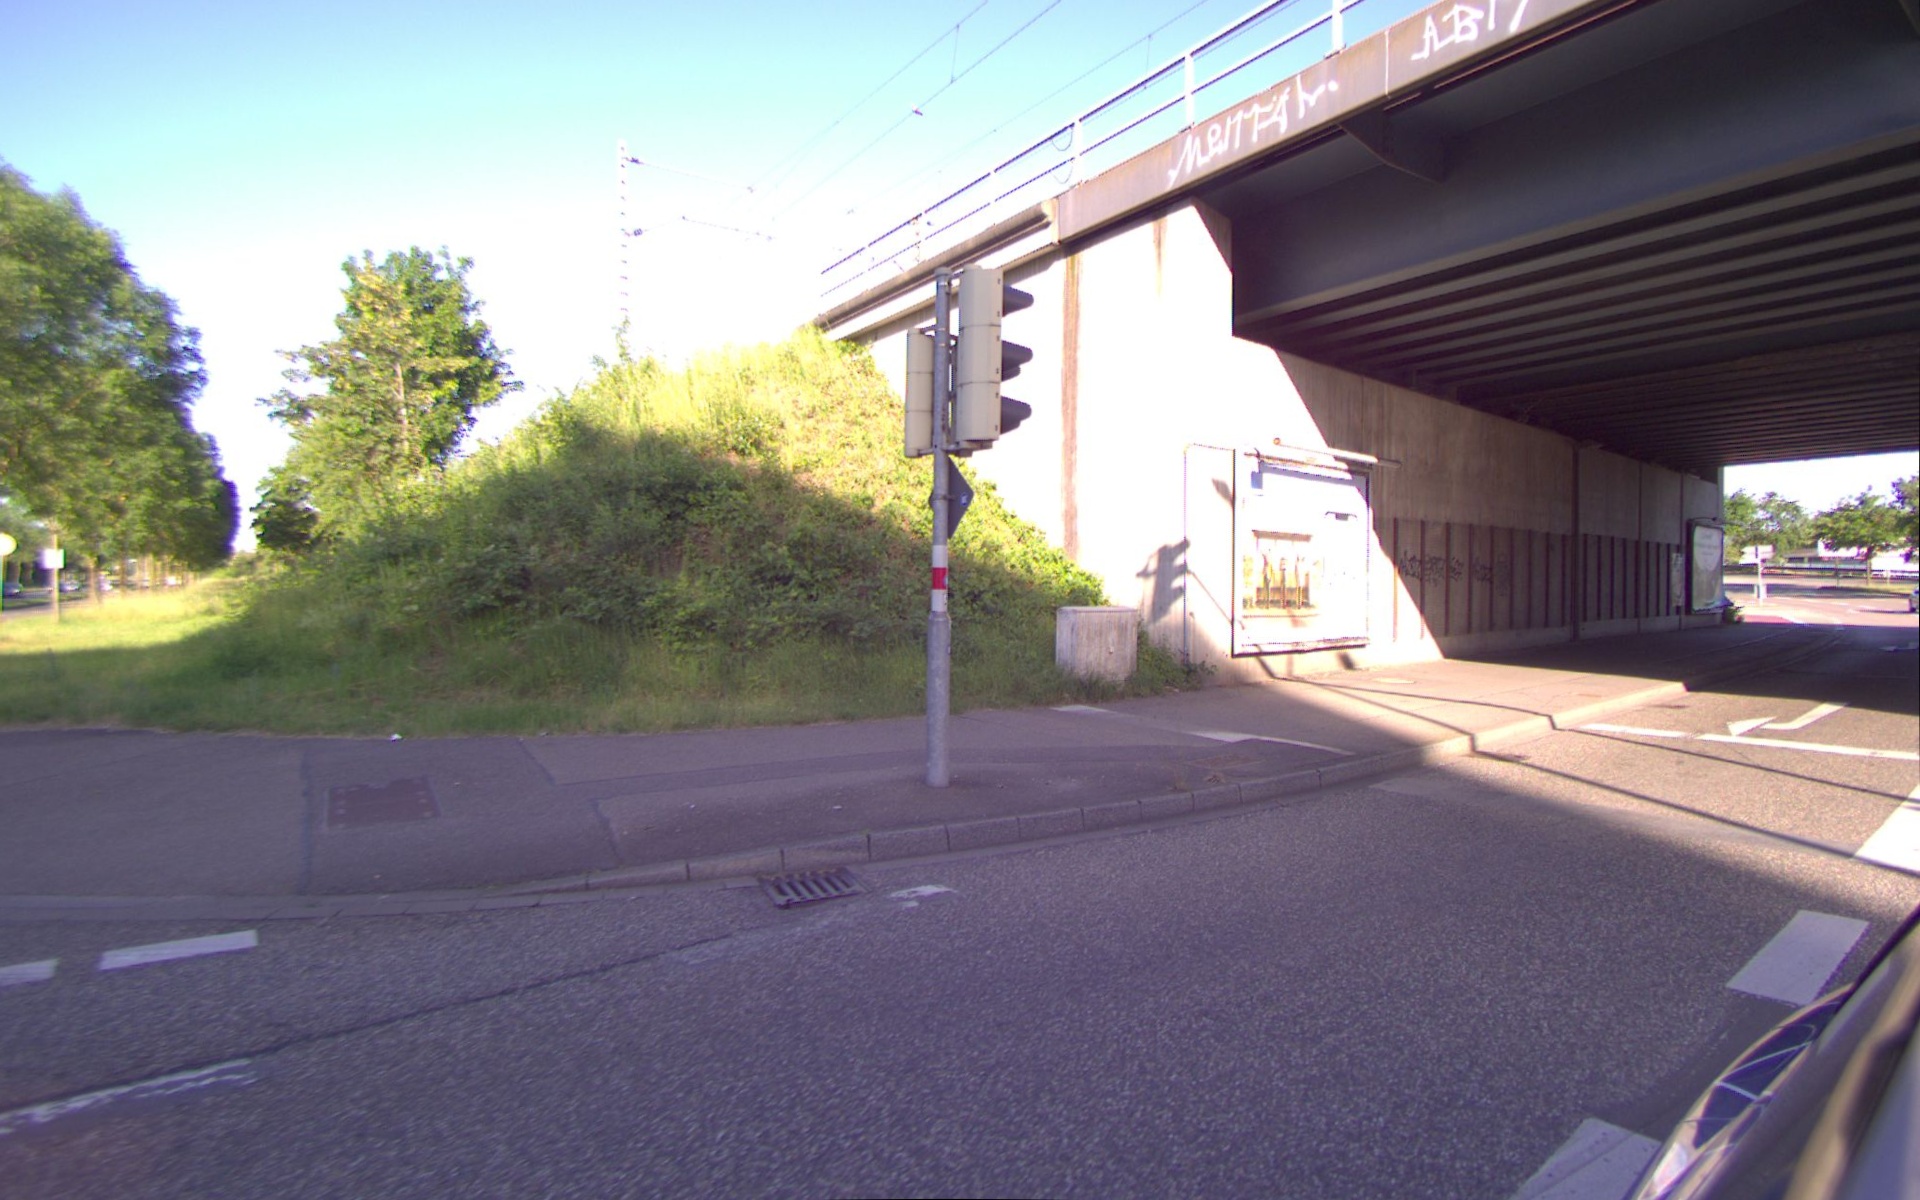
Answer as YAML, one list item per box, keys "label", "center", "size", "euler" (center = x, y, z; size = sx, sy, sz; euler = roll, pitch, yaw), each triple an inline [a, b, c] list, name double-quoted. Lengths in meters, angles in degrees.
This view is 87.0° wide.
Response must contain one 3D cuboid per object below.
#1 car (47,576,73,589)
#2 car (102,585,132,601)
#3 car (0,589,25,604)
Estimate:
- label: "car"
  center: [-115.513, -2.196, 129.904]
  size: [1.793, 1.533, 4.564]
  euler: [-2, 1, -34]
- label: "car"
  center: [-86.021, -0.711, 103.330]
  size: [1.793, 1.533, 4.564]
  euler: [-2, 1, -34]
- label: "car"
  center: [-99.983, -0.336, 106.306]
  size: [1.793, 1.533, 4.564]
  euler: [-2, 1, -34]
